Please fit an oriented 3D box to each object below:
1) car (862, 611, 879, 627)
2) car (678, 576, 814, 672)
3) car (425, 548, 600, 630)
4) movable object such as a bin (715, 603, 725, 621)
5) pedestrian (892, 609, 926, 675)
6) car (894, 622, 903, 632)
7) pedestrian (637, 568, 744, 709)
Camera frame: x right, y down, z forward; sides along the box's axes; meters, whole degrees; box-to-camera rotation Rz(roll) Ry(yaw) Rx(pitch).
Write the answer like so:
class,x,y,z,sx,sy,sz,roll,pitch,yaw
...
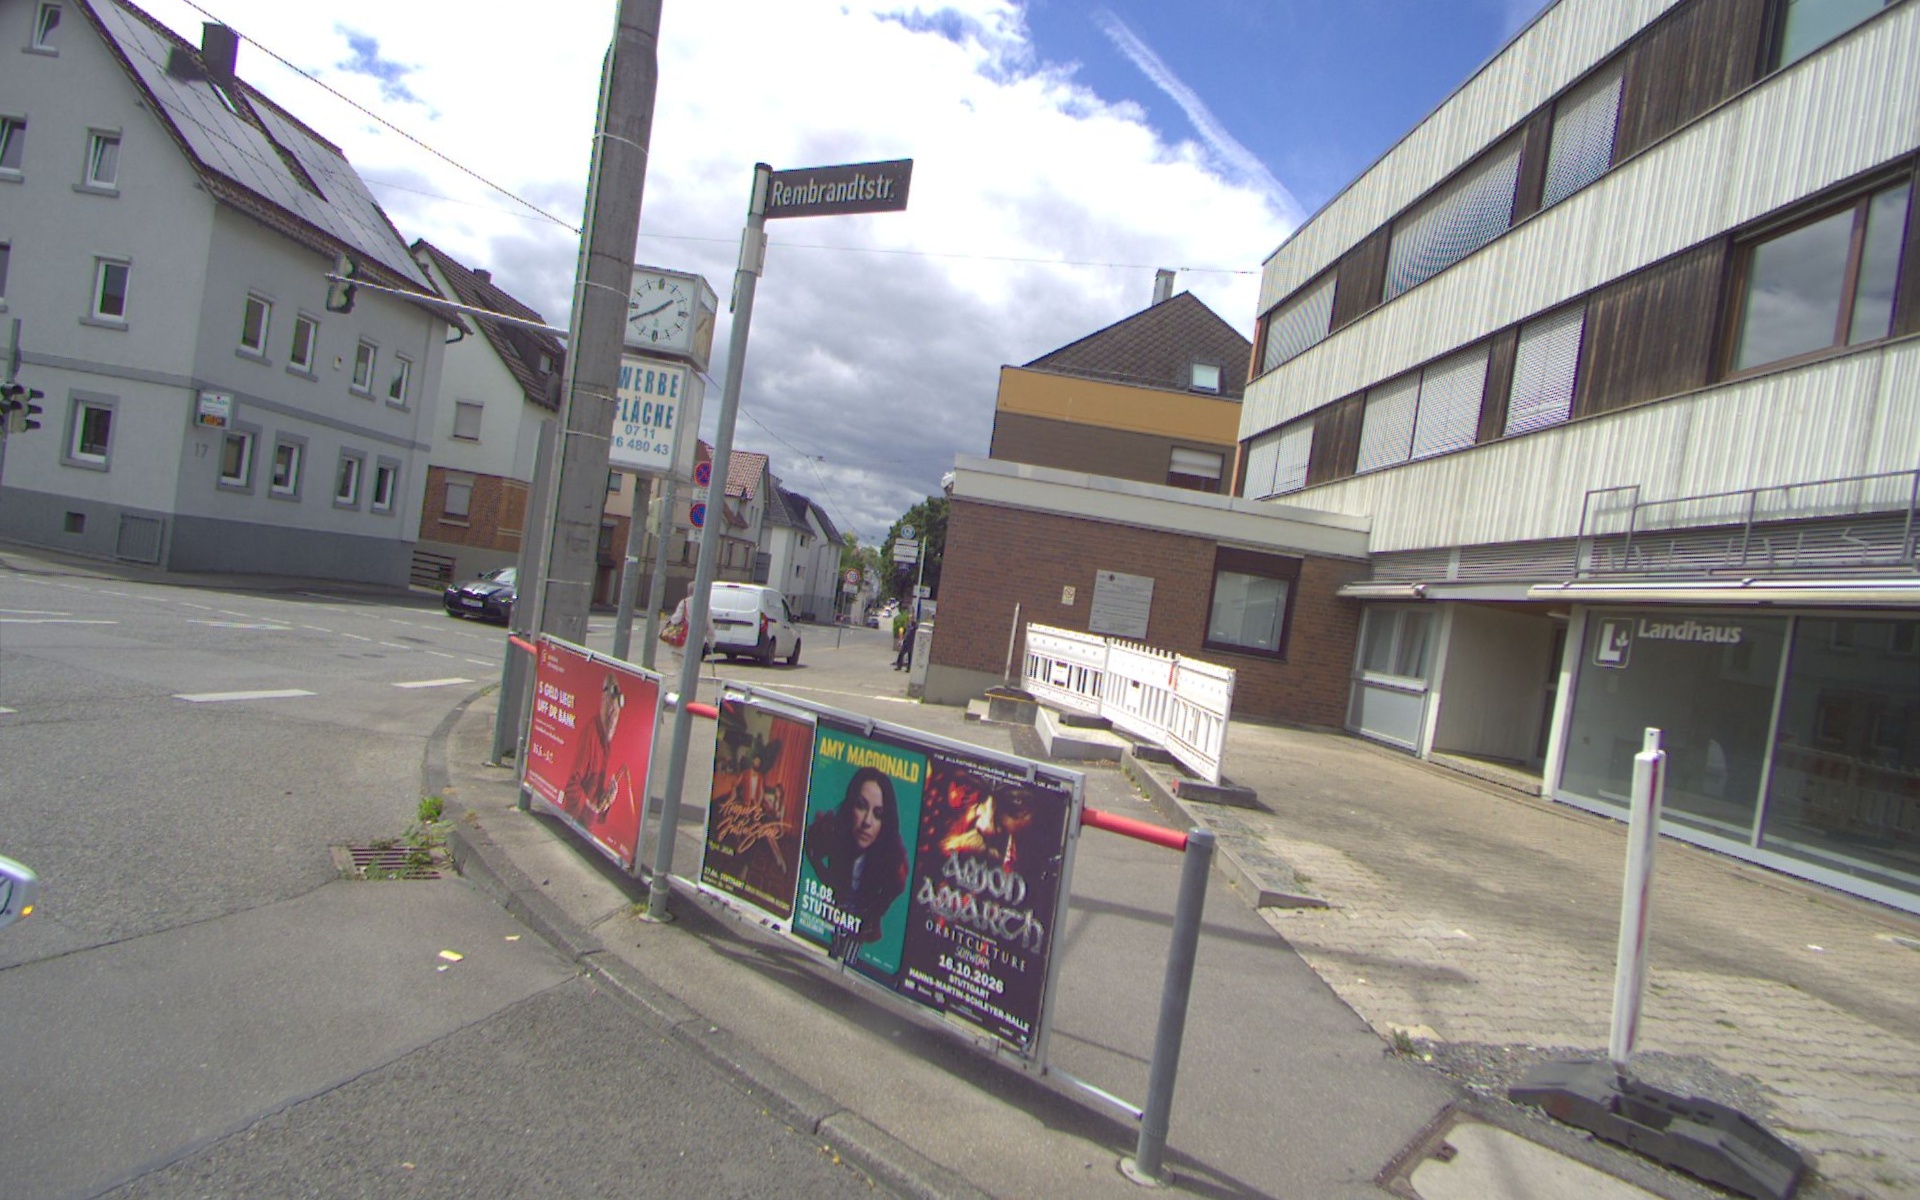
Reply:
class,x,y,z,sx,sy,sz,roll,pitch,yaw
car,-13.288,2.852,149.325,1.966,2.036,3.997,9,-2,-7
car,-4.976,0.600,24.105,1.882,1.815,4.493,8,-1,3
car,-10.902,-0.178,24.963,1.964,1.473,4.620,11,-1,1
movable object such as a bin,-15.849,0.787,66.406,0.424,1.141,0.299,8,0,0
pedestrian,-1.456,1.194,28.929,0.829,1.825,0.651,4,0,1
car,-14.474,6.384,236.506,1.964,2.036,4.002,8,-2,-2
pedestrian,-3.410,0.489,12.737,0.861,1.658,0.833,6,0,40
